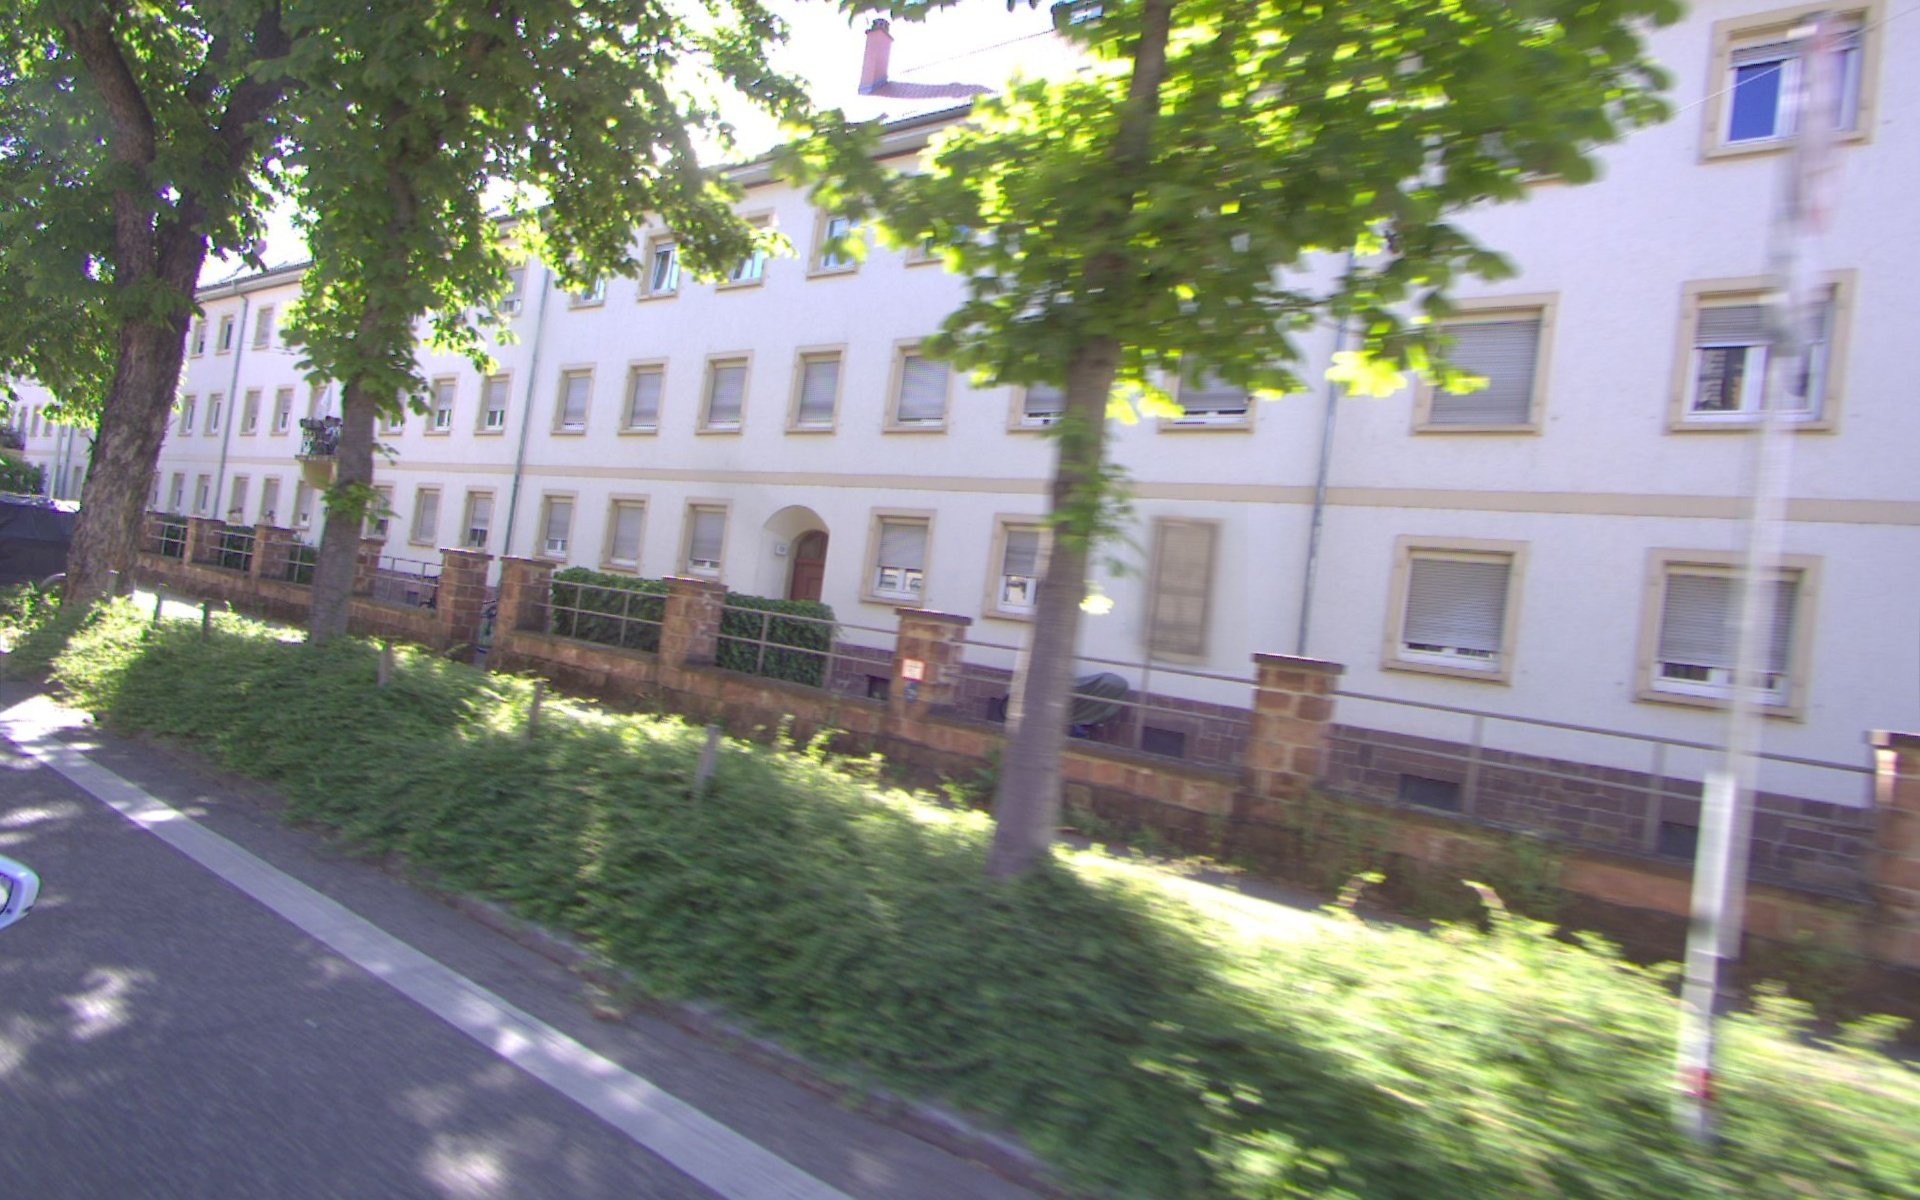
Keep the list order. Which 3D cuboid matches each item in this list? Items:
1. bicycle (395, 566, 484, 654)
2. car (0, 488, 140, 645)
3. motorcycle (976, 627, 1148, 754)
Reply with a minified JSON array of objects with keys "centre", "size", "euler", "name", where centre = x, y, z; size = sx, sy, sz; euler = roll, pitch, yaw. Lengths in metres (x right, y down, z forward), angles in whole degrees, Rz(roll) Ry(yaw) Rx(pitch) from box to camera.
[{"centre":[-8.645,0.156,16.698],"size":[1.648,1.252,0.448],"euler":[7,-1,34],"name":"bicycle"},{"centre":[-13.366,-0.628,13.962],"size":[4.407,1.785,1.747],"euler":[7,-4,35],"name":"car"},{"centre":[1.483,1.317,14.835],"size":[2.222,1.503,0.808],"euler":[7,-3,35],"name":"motorcycle"}]
